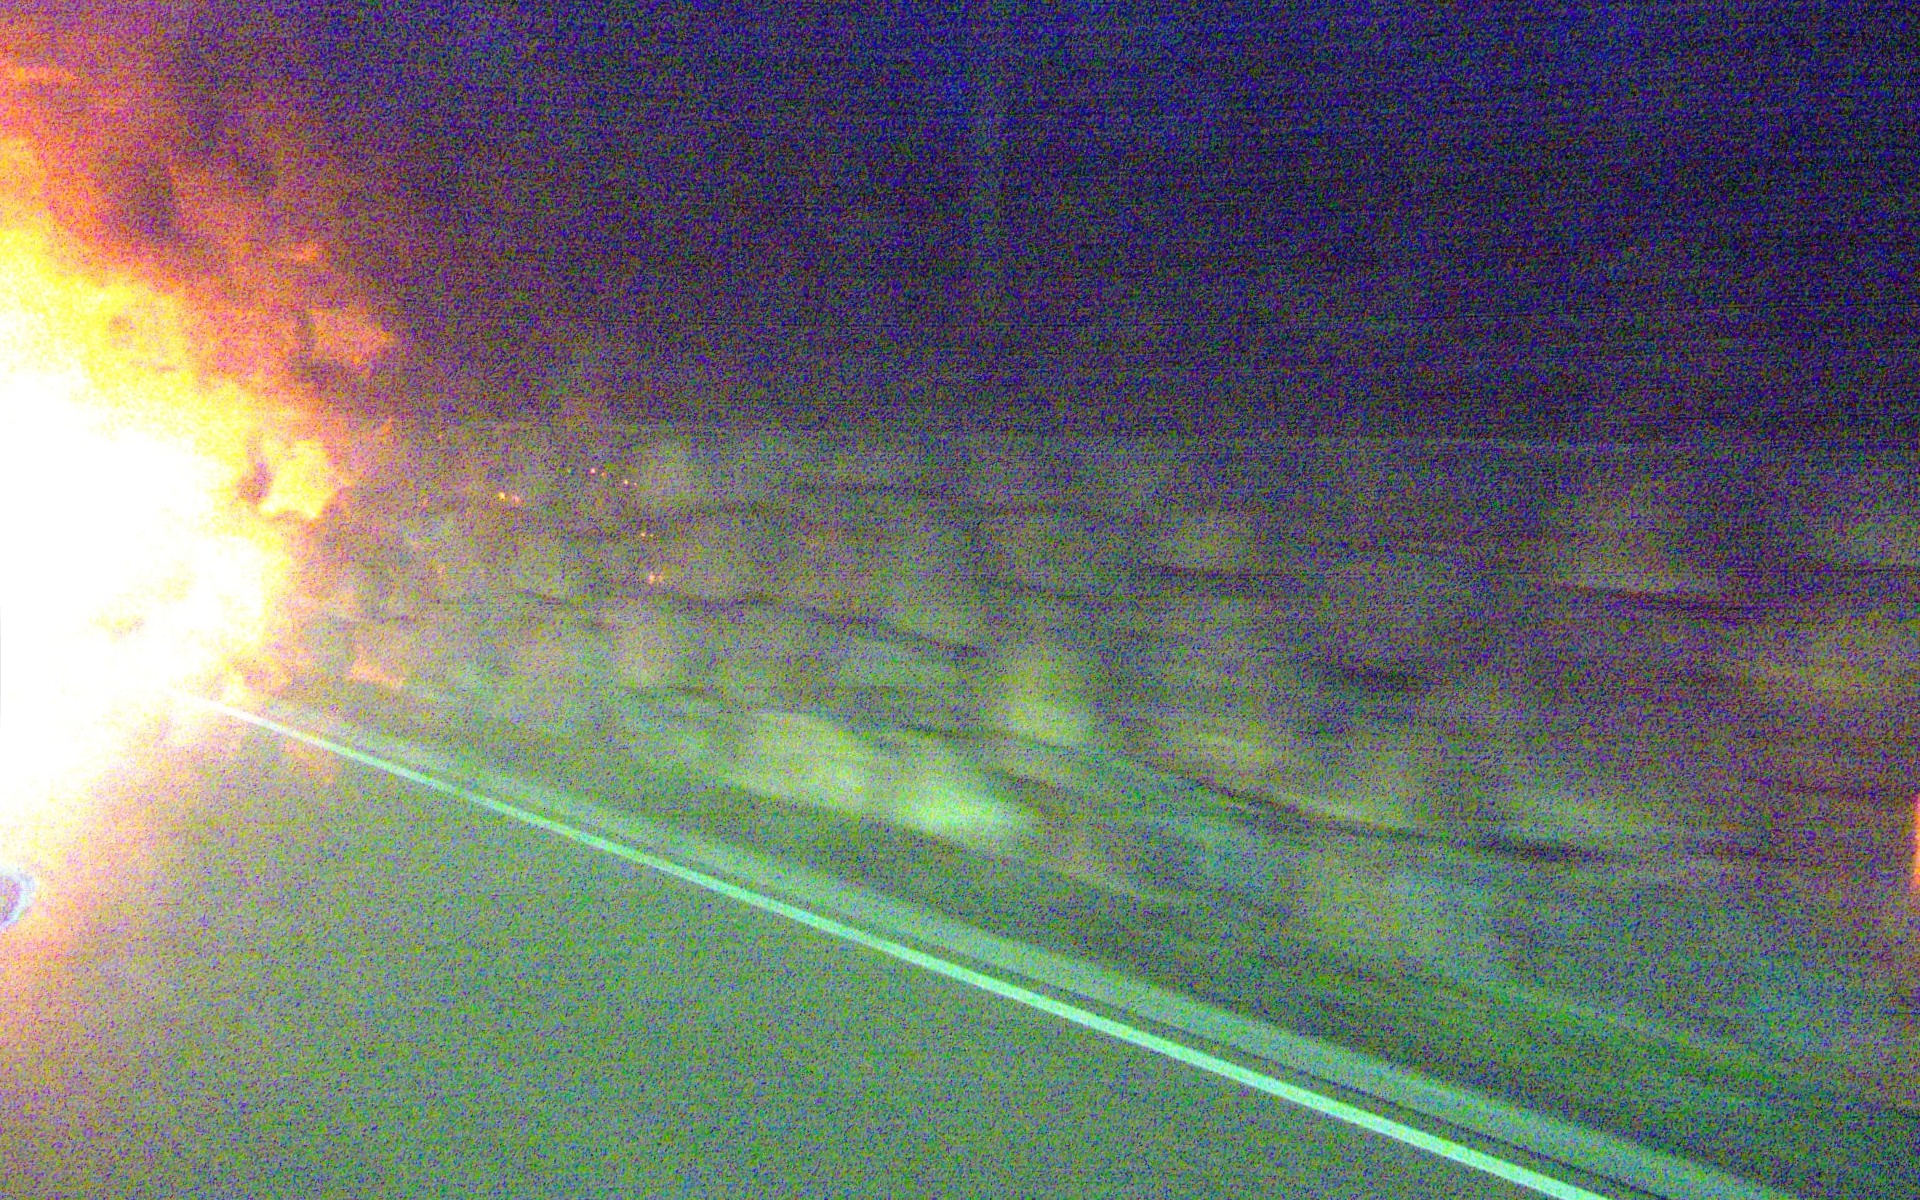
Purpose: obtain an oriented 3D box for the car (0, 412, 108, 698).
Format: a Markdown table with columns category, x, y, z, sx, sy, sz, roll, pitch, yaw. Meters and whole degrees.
| category | x | y | z | sx | sy | sz | roll | pitch | yaw |
| --- | --- | --- | --- | --- | --- | --- | --- | --- | --- |
| car | -9.054 | -0.588 | 8.101 | 4.502 | 2.045 | 1.796 | 7 | -2 | 31 |
